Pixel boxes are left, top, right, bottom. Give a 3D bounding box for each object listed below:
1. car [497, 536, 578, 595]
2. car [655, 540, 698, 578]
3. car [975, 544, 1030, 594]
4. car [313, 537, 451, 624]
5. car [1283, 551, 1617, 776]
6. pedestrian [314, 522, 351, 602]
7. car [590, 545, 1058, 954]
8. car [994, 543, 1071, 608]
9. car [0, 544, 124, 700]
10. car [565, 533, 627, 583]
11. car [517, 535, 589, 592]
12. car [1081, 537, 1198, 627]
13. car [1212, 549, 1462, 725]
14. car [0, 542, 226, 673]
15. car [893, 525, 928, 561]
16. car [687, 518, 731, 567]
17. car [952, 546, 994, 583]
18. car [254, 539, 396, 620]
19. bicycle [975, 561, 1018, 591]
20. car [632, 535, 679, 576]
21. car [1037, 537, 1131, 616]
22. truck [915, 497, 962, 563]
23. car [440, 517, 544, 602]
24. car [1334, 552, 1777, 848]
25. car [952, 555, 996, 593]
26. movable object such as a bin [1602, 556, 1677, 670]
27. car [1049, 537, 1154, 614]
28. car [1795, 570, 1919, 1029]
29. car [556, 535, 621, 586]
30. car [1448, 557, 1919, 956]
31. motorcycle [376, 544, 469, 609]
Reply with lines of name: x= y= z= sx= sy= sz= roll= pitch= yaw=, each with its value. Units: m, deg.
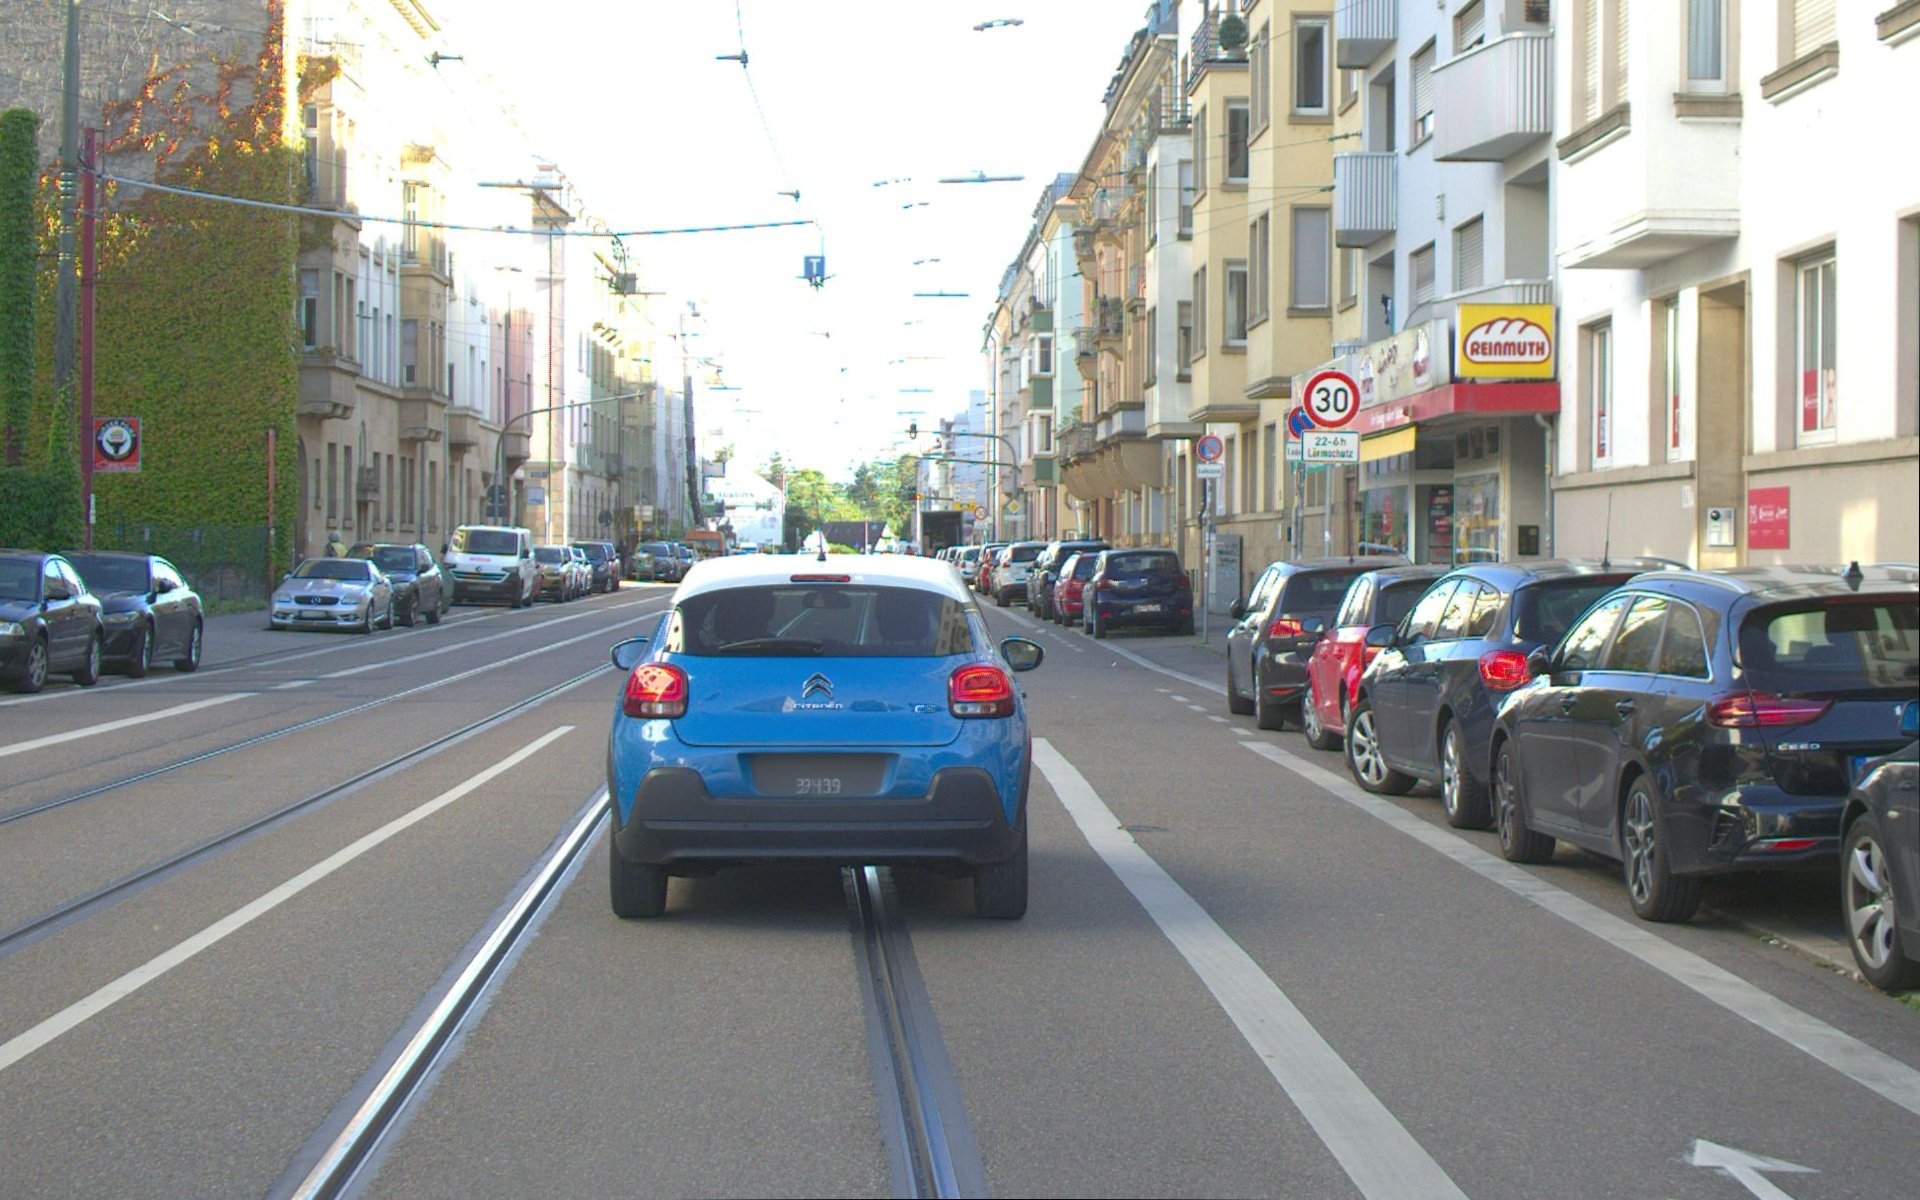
car: x=-11.572 y=-0.963 z=94.363 sx=1.783 sy=1.518 sz=4.360 roll=2 pitch=1 yaw=-2
car: x=-12.943 y=-1.888 z=156.972 sx=1.783 sy=1.621 sz=4.610 roll=2 pitch=1 yaw=-3
car: x=1.364 y=-1.022 z=111.996 sx=1.753 sy=1.589 sz=3.730 roll=0 pitch=1 yaw=0
car: x=-11.096 y=-0.399 z=66.296 sx=1.783 sy=1.560 sz=4.610 roll=2 pitch=1 yaw=1
car: x=3.551 y=0.410 z=25.592 sx=1.857 sy=1.468 sz=3.989 roll=-2 pitch=1 yaw=0
pedestrian: x=-13.628 y=-0.820 z=74.629 sx=0.679 sy=1.718 sz=0.616 roll=1 pitch=1 yaw=-1
car: x=-0.557 y=0.541 z=15.152 sx=1.735 sy=1.502 sz=3.993 roll=2 pitch=1 yaw=-1
car: x=1.881 y=-0.665 z=90.680 sx=1.843 sy=1.685 sz=4.505 roll=0 pitch=1 yaw=-1
car: x=-10.162 y=0.165 z=35.963 sx=1.783 sy=1.476 sz=4.700 roll=2 pitch=1 yaw=-2
car: x=-12.160 y=-1.414 z=114.989 sx=1.783 sy=1.601 sz=4.398 roll=2 pitch=1 yaw=-3
car: x=-11.792 y=-1.075 z=99.831 sx=1.771 sy=1.541 sz=4.366 roll=2 pitch=1 yaw=-3
car: x=3.058 y=-0.328 z=59.276 sx=1.718 sy=1.486 sz=4.002 roll=-1 pitch=1 yaw=-1
car: x=3.310 y=0.281 z=30.905 sx=1.710 sy=1.402 sz=4.358 roll=-2 pitch=1 yaw=0
car: x=-10.374 y=0.053 z=42.065 sx=1.783 sy=1.441 sz=4.842 roll=2 pitch=1 yaw=-1
car: x=-2.652 y=-3.068 z=184.986 sx=1.820 sy=1.888 sz=4.000 roll=1 pitch=1 yaw=-1
car: x=-13.190 y=-3.008 z=180.676 sx=2.144 sy=2.467 sz=4.981 roll=2 pitch=1 yaw=-3
car: x=0.565 y=-1.573 z=151.453 sx=1.783 sy=1.570 sz=4.326 roll=0 pitch=1 yaw=-1
car: x=-11.184 y=-0.378 z=60.782 sx=1.783 sy=1.309 sz=4.221 roll=2 pitch=1 yaw=-1
bicycle: x=1.517 y=-1.004 z=142.669 sx=1.722 sy=1.150 sz=0.469 roll=-3 pitch=1 yaw=0
car: x=-12.913 y=-1.901 z=145.990 sx=1.783 sy=1.684 sz=4.668 roll=2 pitch=1 yaw=-3
car: x=2.665 y=-0.527 z=74.495 sx=1.859 sy=1.660 sz=4.562 roll=0 pitch=1 yaw=0
truck: x=-1.344 y=-4.370 z=216.690 sx=2.853 sy=4.069 sz=11.271 roll=0 pitch=1 yaw=0
car: x=-11.464 y=-1.015 z=84.534 sx=1.973 sy=1.942 sz=5.252 roll=2 pitch=1 yaw=-2
car: x=3.399 y=0.504 z=20.382 sx=1.857 sy=1.502 sz=4.096 roll=-2 pitch=1 yaw=0
car: x=0.561 y=-1.112 z=145.806 sx=1.783 sy=1.626 sz=4.000 roll=0 pitch=1 yaw=-1
movable object such as a bin: x=6.372 y=0.120 z=32.253 sx=0.558 sy=1.053 sz=0.554 roll=1 pitch=1 yaw=-2
car: x=2.742 y=-0.505 z=67.677 sx=1.859 sy=1.450 sz=4.710 roll=0 pitch=1 yaw=0
car: x=4.050 y=0.661 z=10.502 sx=1.748 sy=1.502 sz=4.919 roll=-2 pitch=1 yaw=0
car: x=-11.972 y=-1.289 z=110.842 sx=1.783 sy=1.547 sz=3.019 roll=2 pitch=1 yaw=-1
car: x=3.658 y=0.588 z=15.859 sx=1.857 sy=1.502 sz=4.507 roll=-2 pitch=1 yaw=-4
motorcycle: x=-11.399 y=-0.504 z=72.952 sx=0.885 sy=1.346 sz=1.954 roll=1 pitch=1 yaw=31
